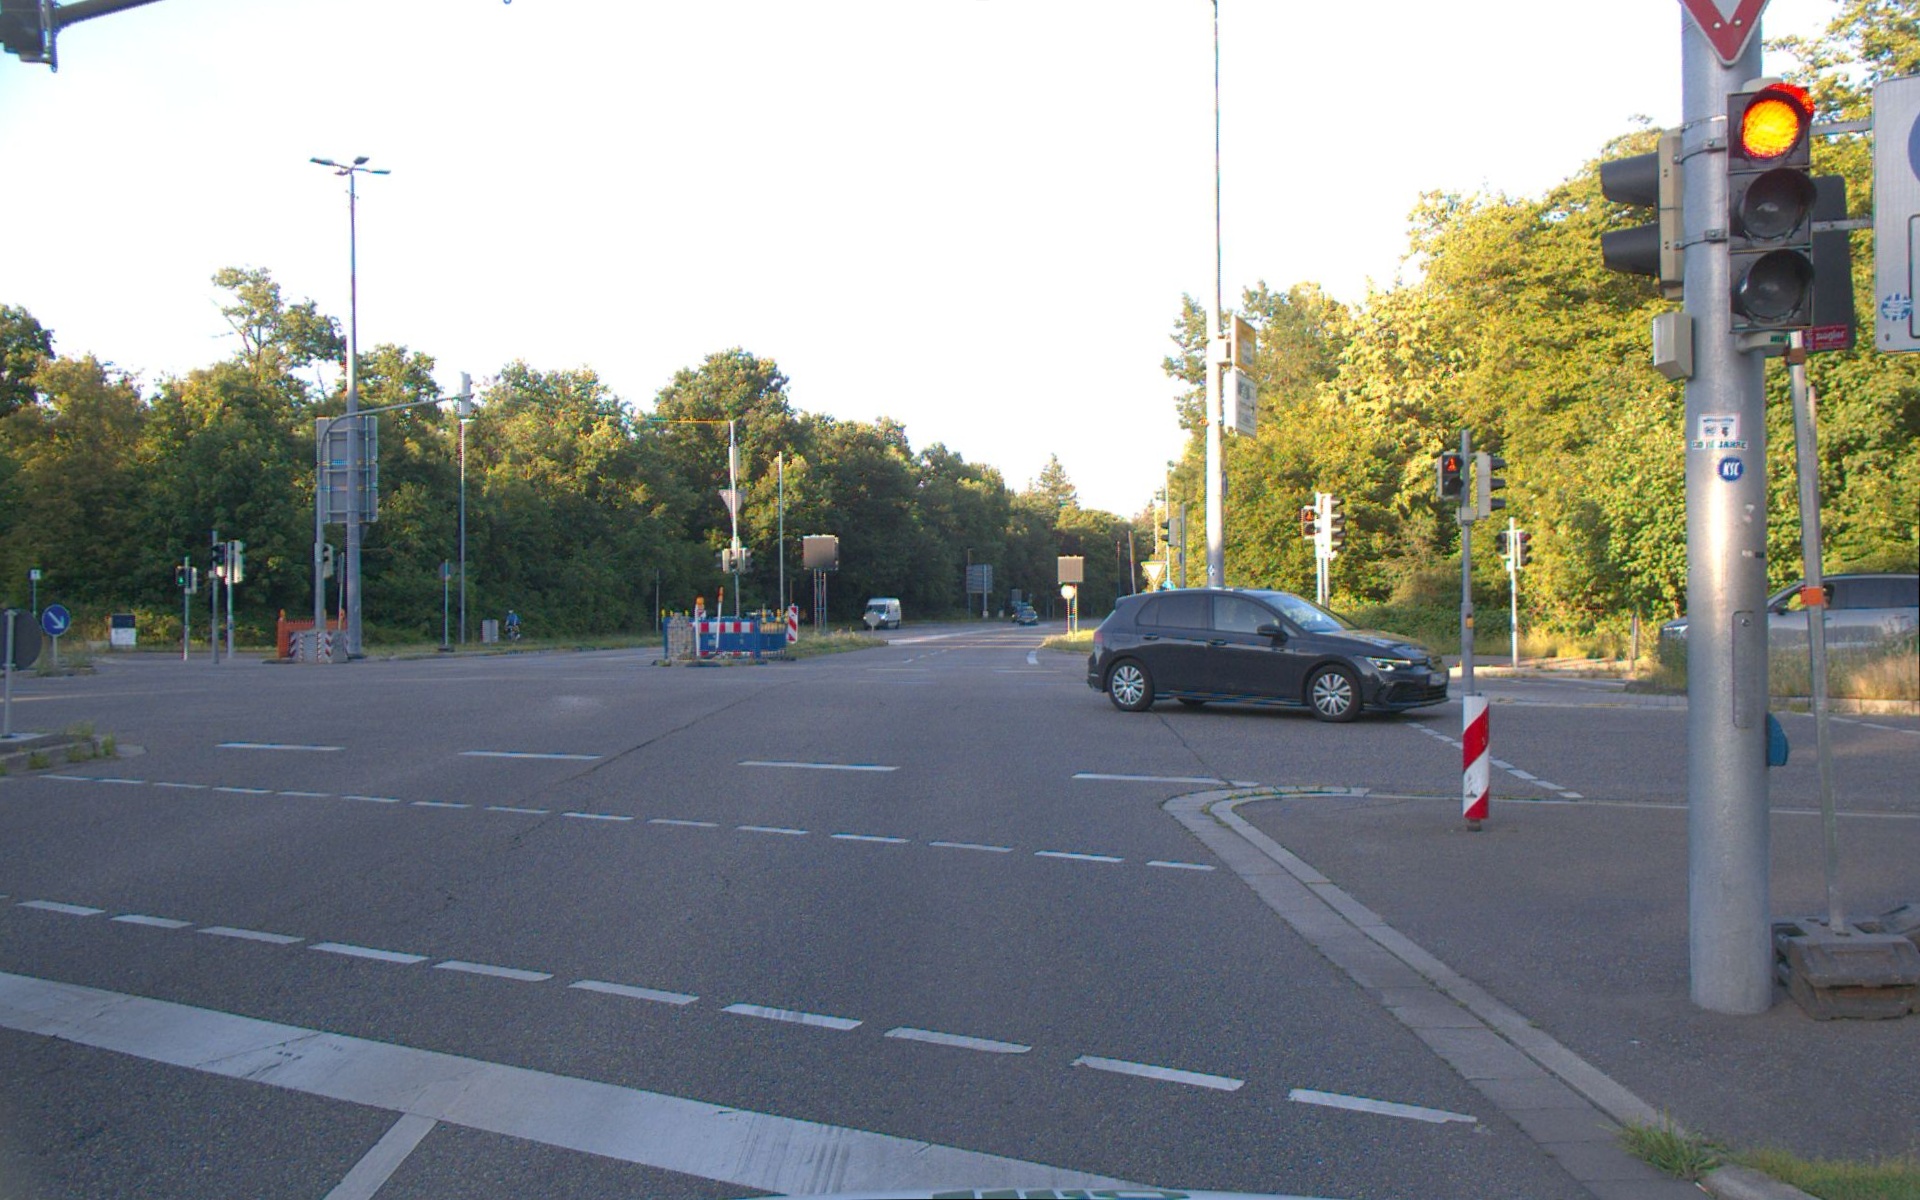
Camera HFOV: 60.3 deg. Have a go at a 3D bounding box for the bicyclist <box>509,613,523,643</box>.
[{"bbox_3d":[-20.915,1.309,77.976,0.515,1.411,0.401,0,0,-42],"label":"bicyclist"}]

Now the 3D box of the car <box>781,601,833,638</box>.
[{"bbox_3d":[-8.699,1.091,94.096,1.951,2.049,4.003,0,0,10],"label":"car"}]

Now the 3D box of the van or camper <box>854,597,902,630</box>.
[{"bbox_3d":[-6.950,1.117,141.520,2.823,2.699,7.128,0,0,8],"label":"van or camper"}]

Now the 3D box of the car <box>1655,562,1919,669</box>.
[{"bbox_3d":[13.746,0.243,26.490,4.716,1.626,2.000,-1,0,21],"label":"car"}]

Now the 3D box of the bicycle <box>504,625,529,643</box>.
[{"bbox_3d":[-20.913,1.599,77.966,1.096,0.840,0.407,0,0,-42],"label":"bicycle"}]

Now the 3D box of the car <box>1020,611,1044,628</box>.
[{"bbox_3d":[7.788,2.106,178.998,1.951,1.668,4.004,-2,1,11],"label":"car"}]

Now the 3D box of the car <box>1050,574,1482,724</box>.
[{"bbox_3d":[3.494,0.518,19.317,4.587,1.556,1.991,0,0,38],"label":"car"}]
